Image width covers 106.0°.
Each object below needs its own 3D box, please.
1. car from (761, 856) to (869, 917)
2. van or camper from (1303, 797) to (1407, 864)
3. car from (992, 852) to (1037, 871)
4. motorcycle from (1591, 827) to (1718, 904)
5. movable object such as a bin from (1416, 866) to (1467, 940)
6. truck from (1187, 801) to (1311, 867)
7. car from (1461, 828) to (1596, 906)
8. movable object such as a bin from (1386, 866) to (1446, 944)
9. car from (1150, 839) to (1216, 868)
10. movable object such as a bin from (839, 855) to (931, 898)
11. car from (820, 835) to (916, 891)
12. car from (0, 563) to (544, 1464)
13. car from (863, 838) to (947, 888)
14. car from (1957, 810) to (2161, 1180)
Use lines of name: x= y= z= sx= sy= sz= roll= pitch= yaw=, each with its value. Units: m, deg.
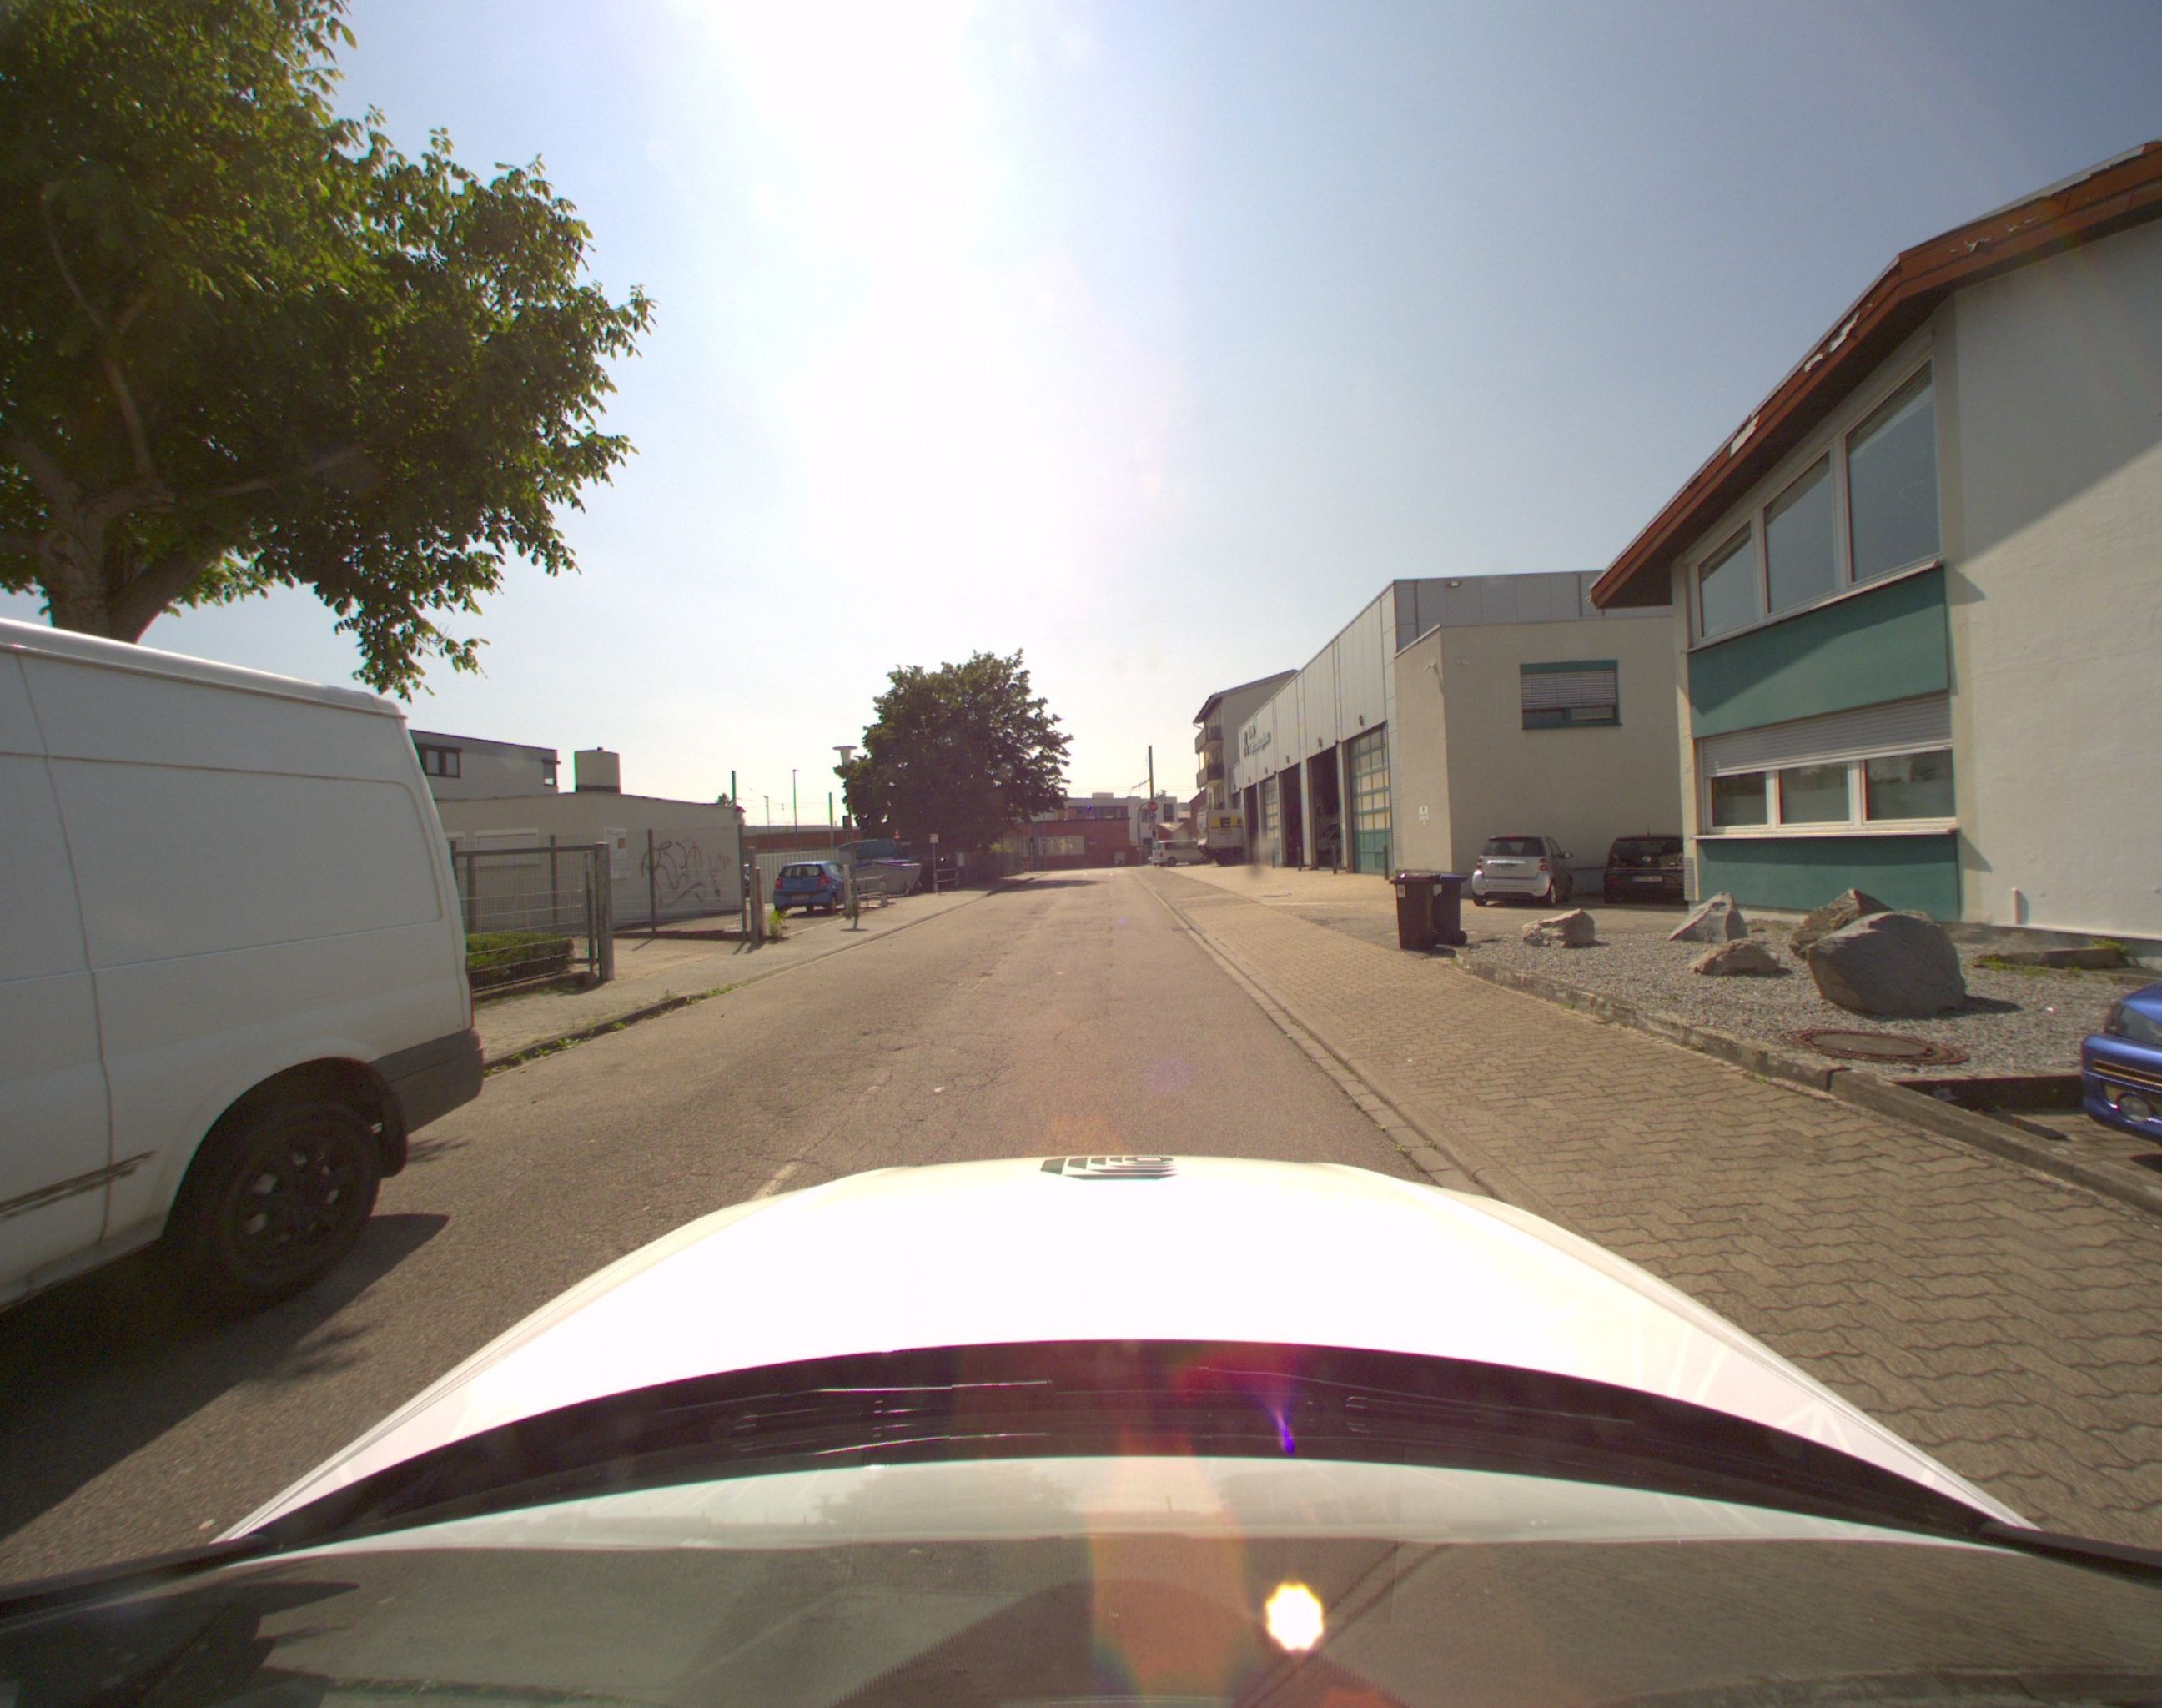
car: x=-7.597 y=0.872 z=23.651 sx=1.808 sy=1.530 sz=3.675 roll=-3 pitch=0 yaw=0
van or camper: x=14.453 y=-1.224 z=43.163 sx=4.743 sy=3.288 sz=1.999 roll=-2 pitch=0 yaw=-2
car: x=-6.487 y=0.737 z=79.252 sx=3.906 sy=1.685 sz=1.909 roll=-3 pitch=0 yaw=31
motorcycle: x=12.759 y=0.219 z=18.038 sx=1.756 sy=1.492 sz=3.631 roll=-3 pitch=0 yaw=43
movable object such as a bin: x=4.869 y=0.656 z=11.021 sx=0.510 sy=0.946 sz=0.489 roll=-3 pitch=0 yaw=13
truck: x=11.075 y=-1.323 z=54.011 sx=7.346 sy=3.645 sz=2.763 roll=-5 pitch=0 yaw=-5
car: x=10.245 y=0.248 z=18.537 sx=1.756 sy=1.539 sz=3.725 roll=-3 pitch=0 yaw=43
movable object such as a bin: x=4.339 y=0.651 z=10.528 sx=0.562 sy=0.946 sz=0.561 roll=-3 pitch=0 yaw=35
car: x=7.827 y=-0.039 z=62.496 sx=4.666 sy=1.957 sz=1.905 roll=-2 pitch=0 yaw=-17
movable object such as a bin: x=-7.698 y=0.859 z=32.241 sx=2.612 sy=1.510 sz=2.734 roll=-3 pitch=0 yaw=7
car: x=-10.287 y=0.428 z=39.459 sx=4.072 sy=2.513 sz=1.777 roll=-2 pitch=0 yaw=0
car: x=-3.857 y=0.457 z=1.575 sx=1.999 sy=2.366 sz=5.229 roll=-4 pitch=0 yaw=0
car: x=-9.537 y=0.480 z=44.268 sx=4.072 sy=2.513 sz=1.777 roll=-2 pitch=0 yaw=0
car: x=5.674 y=0.464 z=2.893 sx=3.240 sy=1.398 sz=1.674 roll=-3 pitch=0 yaw=2
